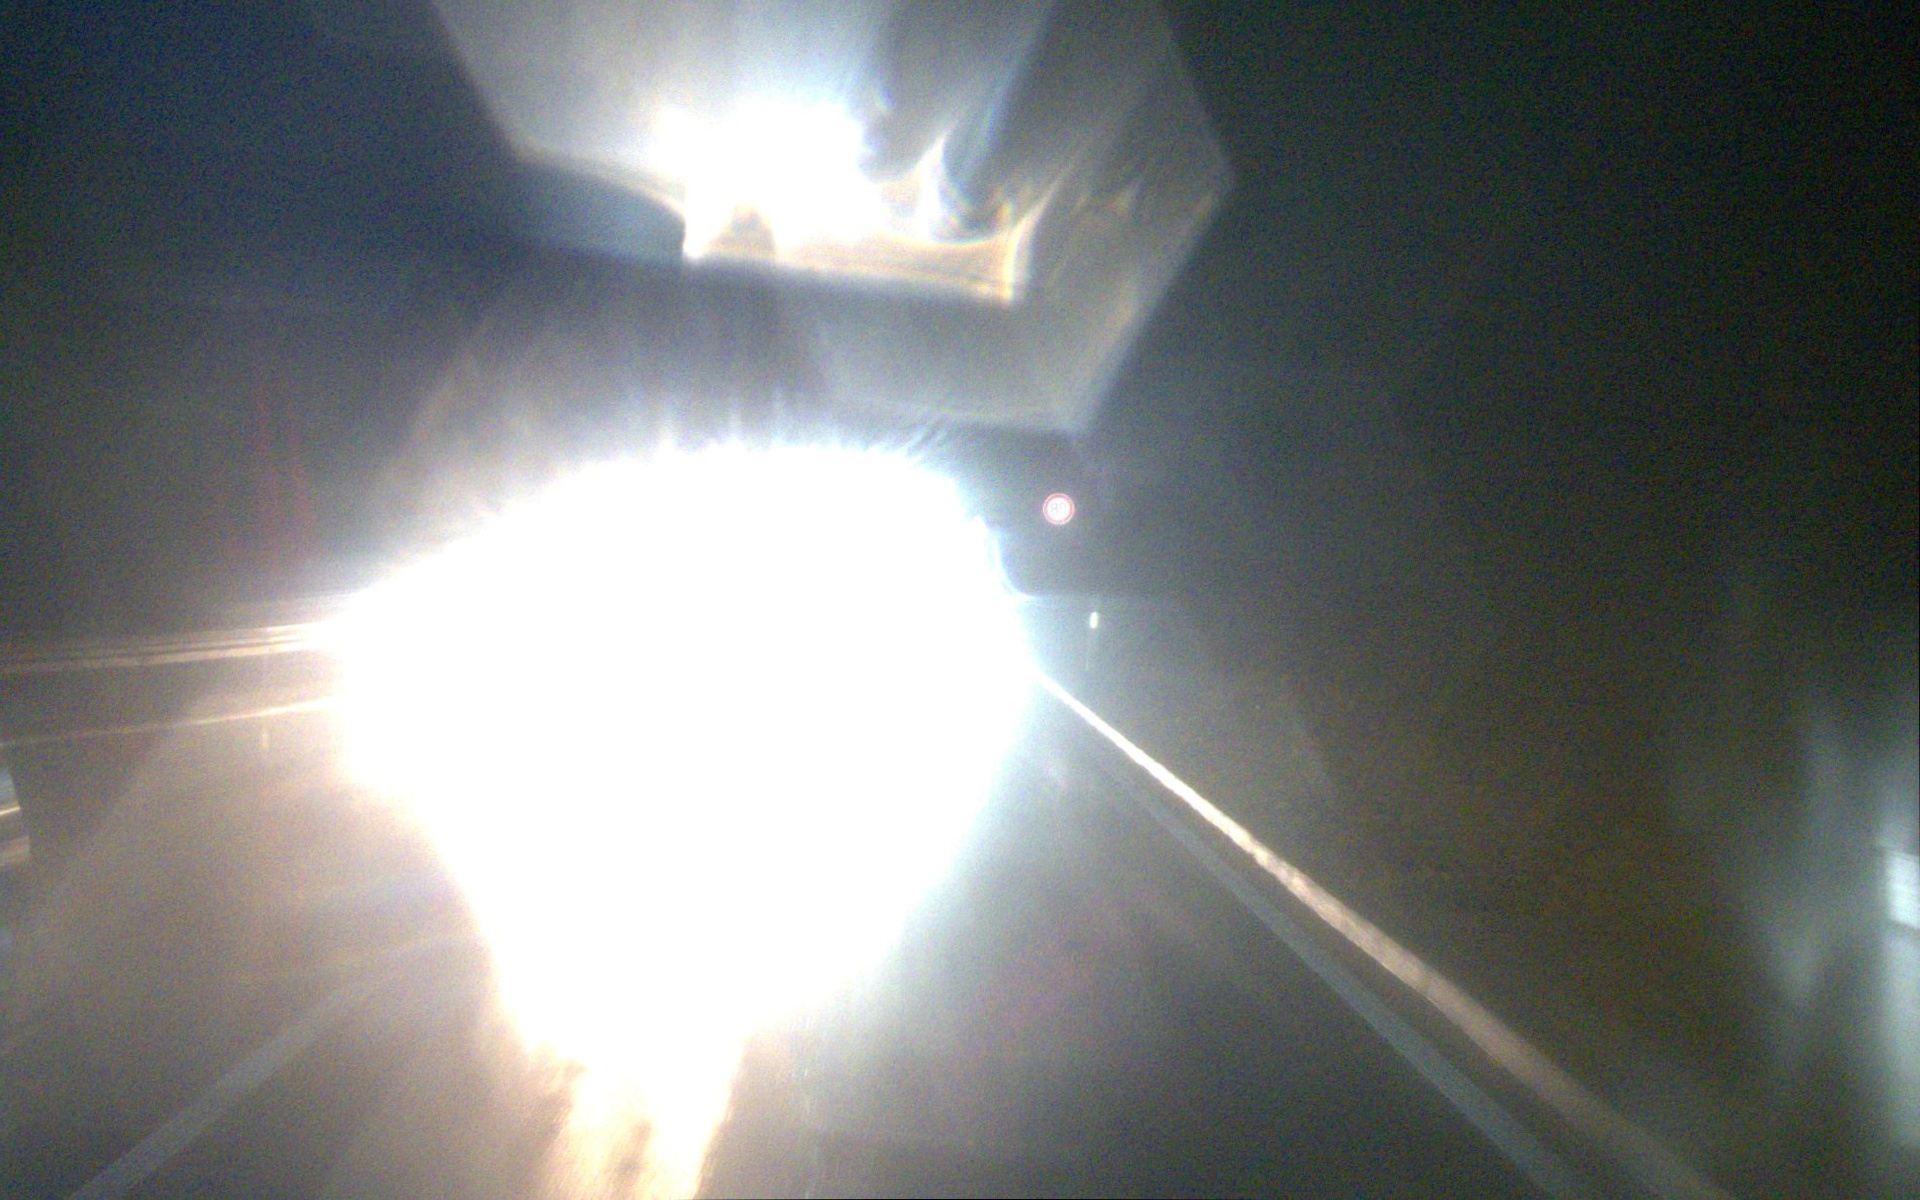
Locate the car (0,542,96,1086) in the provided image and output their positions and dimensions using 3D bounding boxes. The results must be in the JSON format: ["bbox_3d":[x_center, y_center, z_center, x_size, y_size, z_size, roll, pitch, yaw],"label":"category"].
[{"bbox_3d":[-3.748,0.659,9.179,1.888,1.581,4.000,-1,1,-1],"label":"car"}]

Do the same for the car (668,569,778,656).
[{"bbox_3d":[-4.802,0.260,70.186,1.888,1.629,4.391,-3,0,-1],"label":"car"}]

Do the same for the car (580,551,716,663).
[{"bbox_3d":[-4.370,0.065,48.574,1.700,1.462,4.042,-1,1,-2],"label":"car"}]

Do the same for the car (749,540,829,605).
[{"bbox_3d":[-4.716,-0.744,94.330,2.039,1.602,3.999,-3,0,-4],"label":"car"}]
